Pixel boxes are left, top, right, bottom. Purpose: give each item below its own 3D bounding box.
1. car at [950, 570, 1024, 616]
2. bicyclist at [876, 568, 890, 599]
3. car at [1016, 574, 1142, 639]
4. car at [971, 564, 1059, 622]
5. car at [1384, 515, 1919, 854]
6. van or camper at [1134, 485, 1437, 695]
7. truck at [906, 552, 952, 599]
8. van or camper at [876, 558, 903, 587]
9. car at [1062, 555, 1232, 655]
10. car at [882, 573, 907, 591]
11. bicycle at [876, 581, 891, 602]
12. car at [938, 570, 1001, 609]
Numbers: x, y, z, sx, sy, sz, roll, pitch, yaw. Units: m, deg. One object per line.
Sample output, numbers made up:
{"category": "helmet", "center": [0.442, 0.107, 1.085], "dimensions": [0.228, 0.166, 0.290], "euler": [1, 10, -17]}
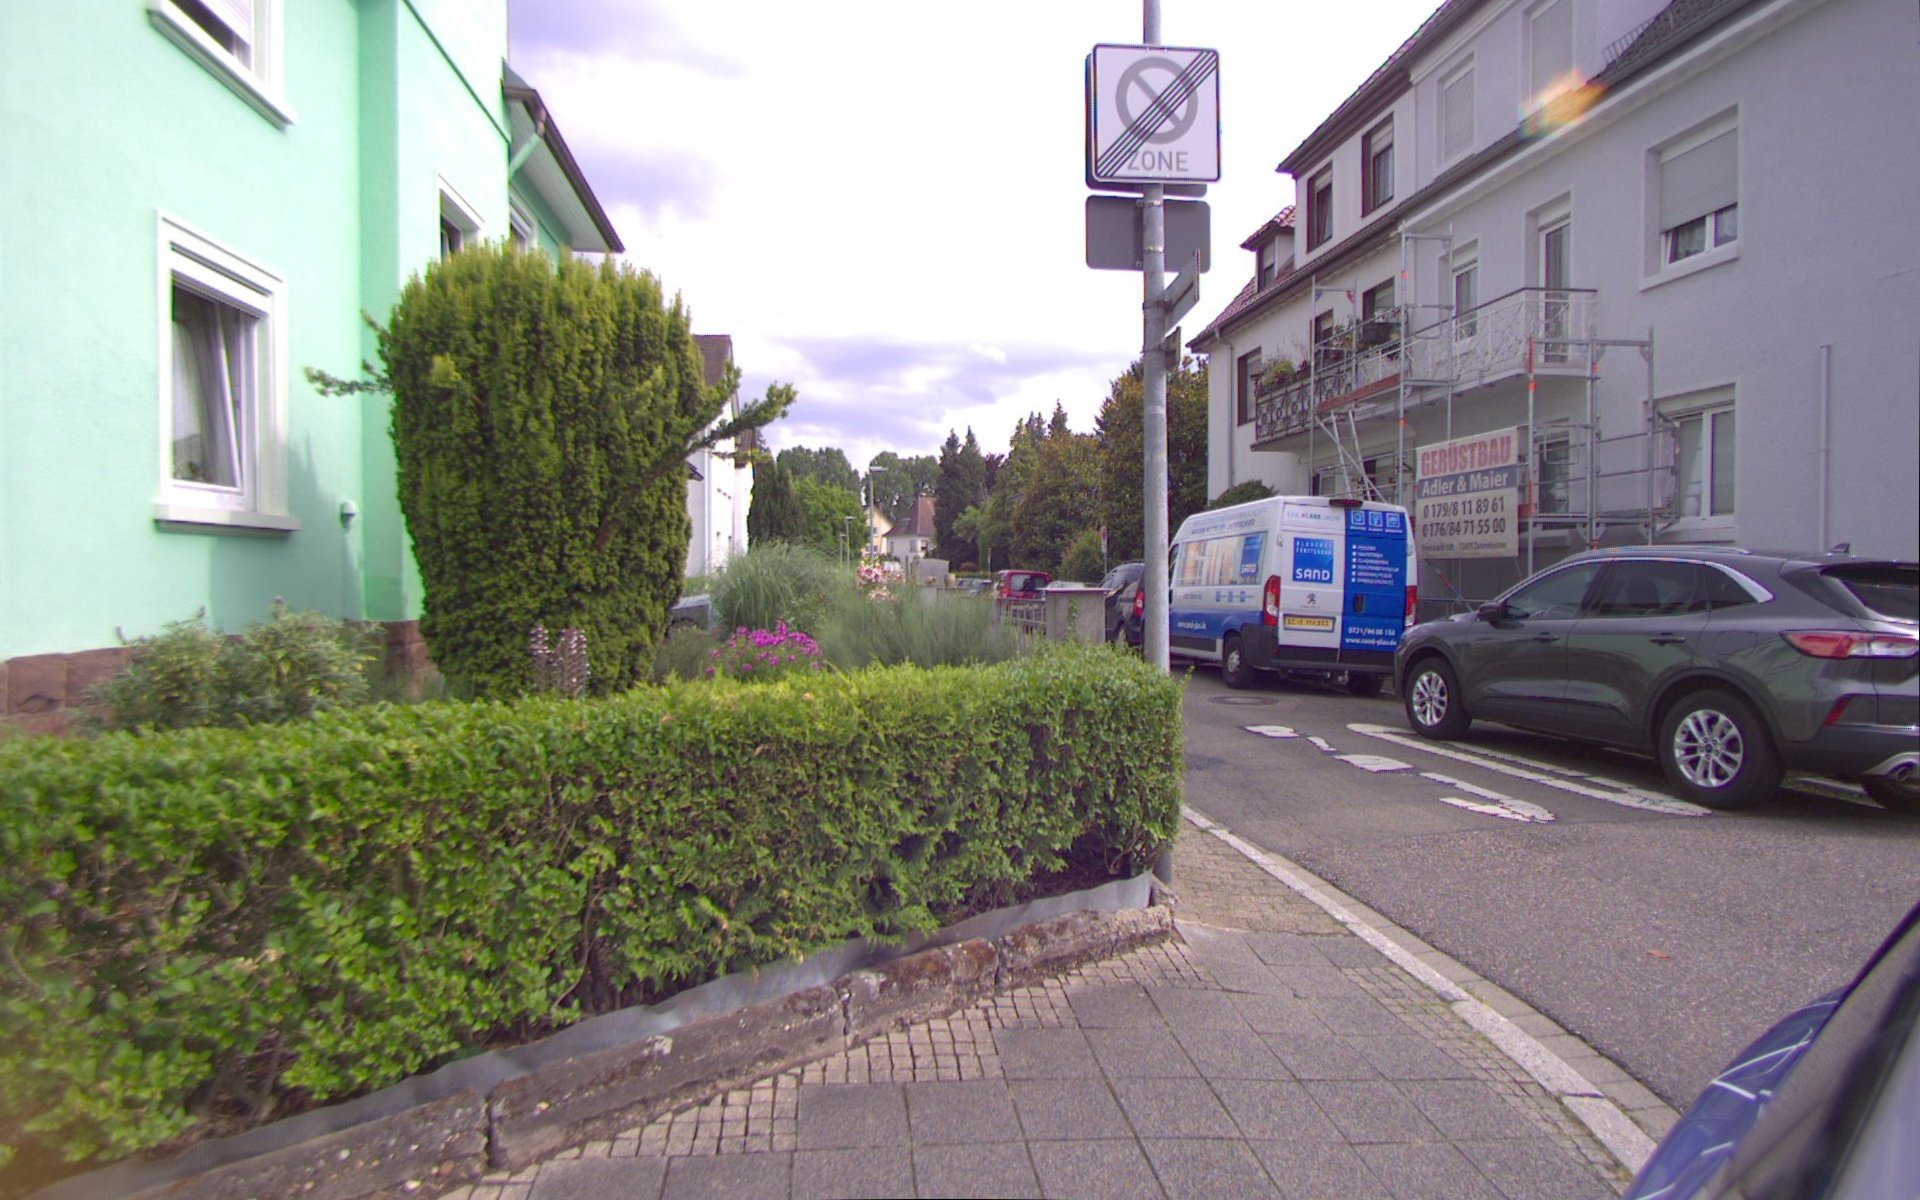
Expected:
{"category": "car", "center": [0.955, -0.307, 38.389], "dimensions": [1.959, 1.611, 4.350], "euler": [-1, 2, -10]}
{"category": "bicyclist", "center": [-4.305, -0.946, 56.845], "dimensions": [0.684, 1.687, 0.977], "euler": [-2, 1, -7]}
{"category": "car", "center": [2.881, 0.090, 25.541], "dimensions": [1.959, 1.473, 4.350], "euler": [-1, 2, -10]}
{"category": "car", "center": [1.733, -0.278, 33.376], "dimensions": [1.959, 1.771, 4.350], "euler": [-1, 2, -10]}
{"category": "car", "center": [5.323, 0.362, 7.515], "dimensions": [1.959, 1.748, 4.350], "euler": [-1, 2, -10]}
{"category": "van or camper", "center": [4.357, -0.200, 14.650], "dimensions": [2.154, 2.489, 5.063], "euler": [-1, 2, -8]}
{"category": "truck", "center": [-1.916, -1.471, 60.899], "dimensions": [2.093, 2.690, 4.593], "euler": [-1, 2, -10]}
{"category": "van or camper", "center": [-6.536, -2.529, 93.151], "dimensions": [2.105, 2.573, 5.023], "euler": [-1, 2, -8]}
{"category": "car", "center": [3.631, 0.015, 20.525], "dimensions": [1.959, 1.794, 4.350], "euler": [-1, 2, -10]}
{"category": "car", "center": [-5.240, -1.441, 80.933], "dimensions": [1.790, 1.393, 4.006], "euler": [-1, 2, -6]}
{"category": "bicycle", "center": [-4.301, -0.482, 56.767], "dimensions": [0.693, 1.166, 1.876], "euler": [-1, 1, -8]}
{"category": "car", "center": [0.359, -0.492, 44.216], "dimensions": [1.959, 1.611, 4.350], "euler": [-1, 2, -10]}
